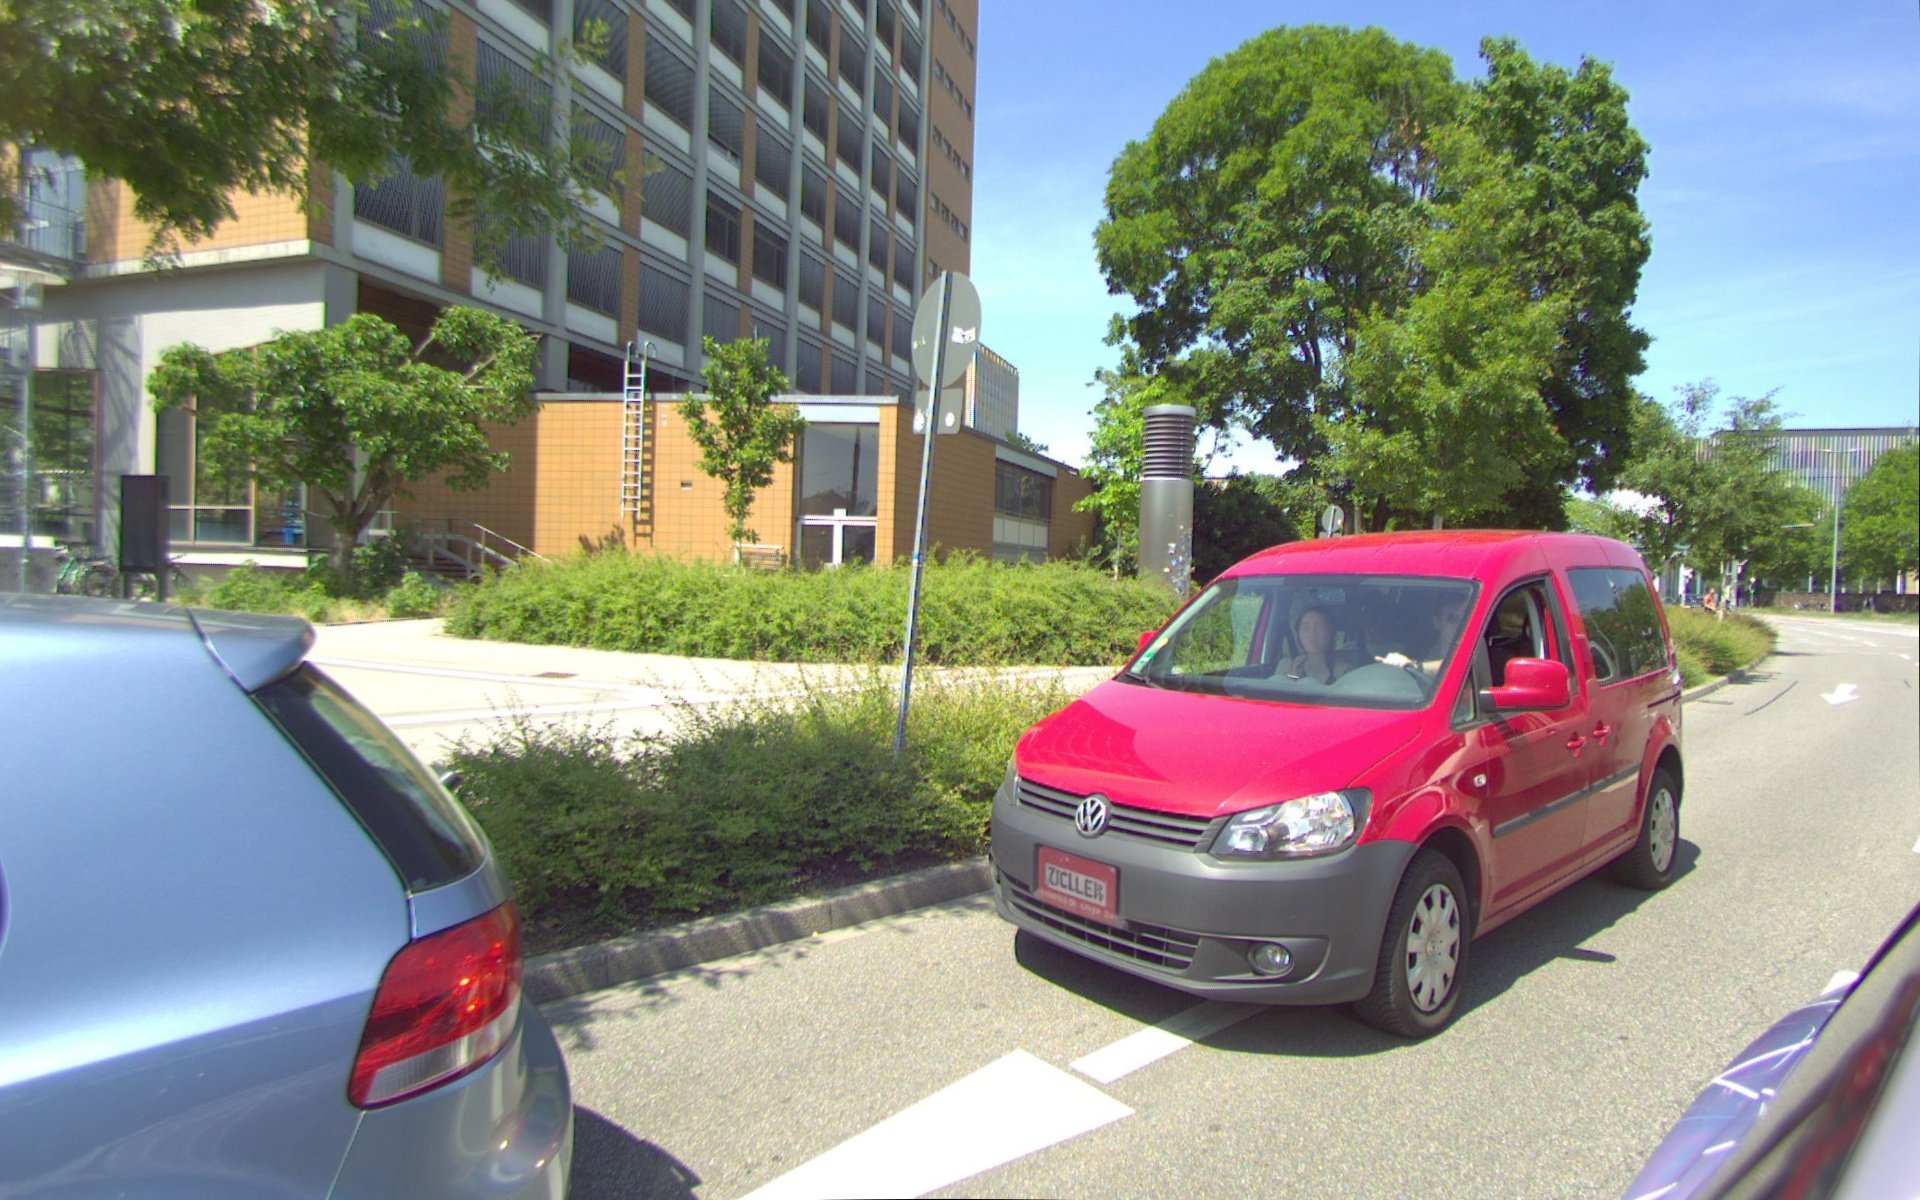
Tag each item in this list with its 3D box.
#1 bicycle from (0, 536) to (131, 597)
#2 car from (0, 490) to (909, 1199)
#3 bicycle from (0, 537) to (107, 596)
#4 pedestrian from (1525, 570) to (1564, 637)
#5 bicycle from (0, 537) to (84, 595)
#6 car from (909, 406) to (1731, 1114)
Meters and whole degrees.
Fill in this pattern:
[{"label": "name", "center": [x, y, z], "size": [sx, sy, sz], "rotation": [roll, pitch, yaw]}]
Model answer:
[{"label": "bicycle", "center": [-19.183, -0.700, 21.659], "size": [0.630, 1.233, 2.202], "rotation": [0, 0, 22]}, {"label": "car", "center": [-2.110, 0.618, 1.110], "size": [3.933, 1.477, 1.654], "rotation": [0, 0, -41]}, {"label": "bicycle", "center": [-20.002, -0.701, 21.990], "size": [0.630, 1.233, 2.202], "rotation": [0, 0, 22]}, {"label": "pedestrian", "center": [16.198, 0.091, 28.027], "size": [0.603, 1.820, 0.728], "rotation": [1, 1, -40]}, {"label": "bicycle", "center": [-20.720, -0.735, 22.240], "size": [0.630, 1.233, 2.201], "rotation": [0, 0, 22]}, {"label": "car", "center": [2.036, 0.414, 4.783], "size": [4.465, 1.882, 1.654], "rotation": [0, 1, -41]}]
